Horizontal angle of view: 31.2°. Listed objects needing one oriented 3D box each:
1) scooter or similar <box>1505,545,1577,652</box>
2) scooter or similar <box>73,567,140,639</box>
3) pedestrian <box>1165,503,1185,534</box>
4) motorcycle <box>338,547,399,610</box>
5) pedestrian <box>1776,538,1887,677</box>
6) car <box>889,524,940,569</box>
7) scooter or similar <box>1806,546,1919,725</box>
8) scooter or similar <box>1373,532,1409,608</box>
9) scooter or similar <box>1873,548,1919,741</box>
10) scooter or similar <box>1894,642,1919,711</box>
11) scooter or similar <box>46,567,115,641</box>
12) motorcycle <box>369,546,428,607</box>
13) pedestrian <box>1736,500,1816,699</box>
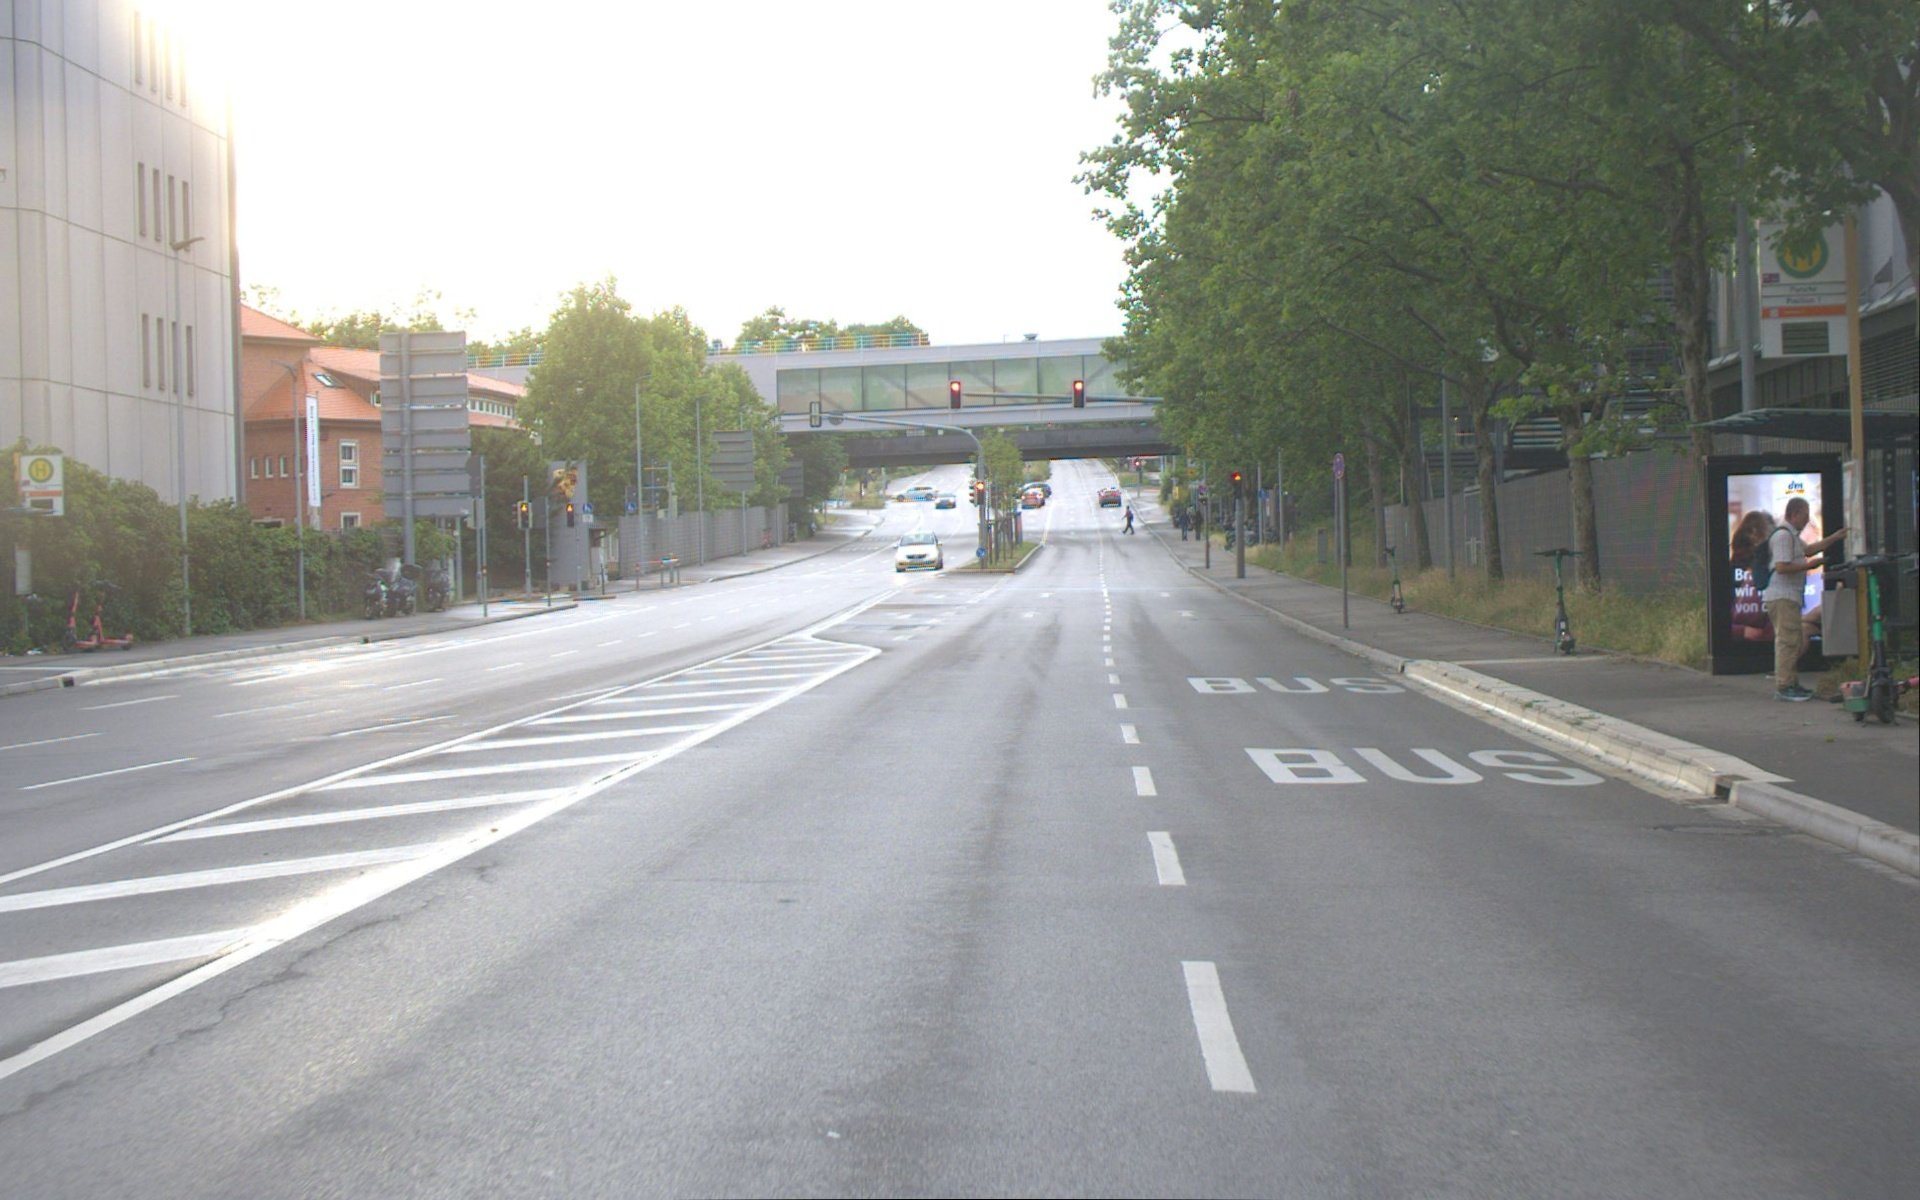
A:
[{"bbox_3d":[7.039,-0.027,41.589,0.699,1.240,1.920,-1,1,14],"label":"scooter or similar"},{"bbox_3d":[-15.423,0.048,62.151,0.497,1.248,1.921,-1,1,7],"label":"scooter or similar"},{"bbox_3d":[14.055,-5.319,224.990,1.057,2.007,1.150,-1,1,13],"label":"pedestrian"},{"bbox_3d":[-14.810,-0.561,86.185,0.913,1.527,3.300,-2,1,0],"label":"motorcycle"},{"bbox_3d":[8.430,0.069,33.279,0.951,1.312,0.685,-1,1,9],"label":"pedestrian"},{"bbox_3d":[-1.860,-2.172,140.211,1.993,1.766,4.000,-1,1,-1],"label":"car"},{"bbox_3d":[6.753,0.250,25.739,0.503,1.288,1.433,-2,1,2],"label":"scooter or similar"},{"bbox_3d":[7.988,-0.564,63.735,0.609,1.361,1.921,-1,1,7],"label":"scooter or similar"},{"bbox_3d":[6.694,0.289,23.632,0.475,1.288,1.433,-2,1,2],"label":"scooter or similar"},{"bbox_3d":[8.120,0.584,26.819,1.562,0.517,0.643,-1,1,19],"label":"scooter or similar"},{"bbox_3d":[-15.357,0.068,60.062,0.524,1.248,1.799,-1,1,7],"label":"scooter or similar"},{"bbox_3d":[-14.650,-0.633,89.808,0.959,1.550,3.300,-2,1,0],"label":"motorcycle"},{"bbox_3d":[6.927,-0.008,29.198,0.481,1.661,0.662,-2,1,0],"label":"pedestrian"}]
